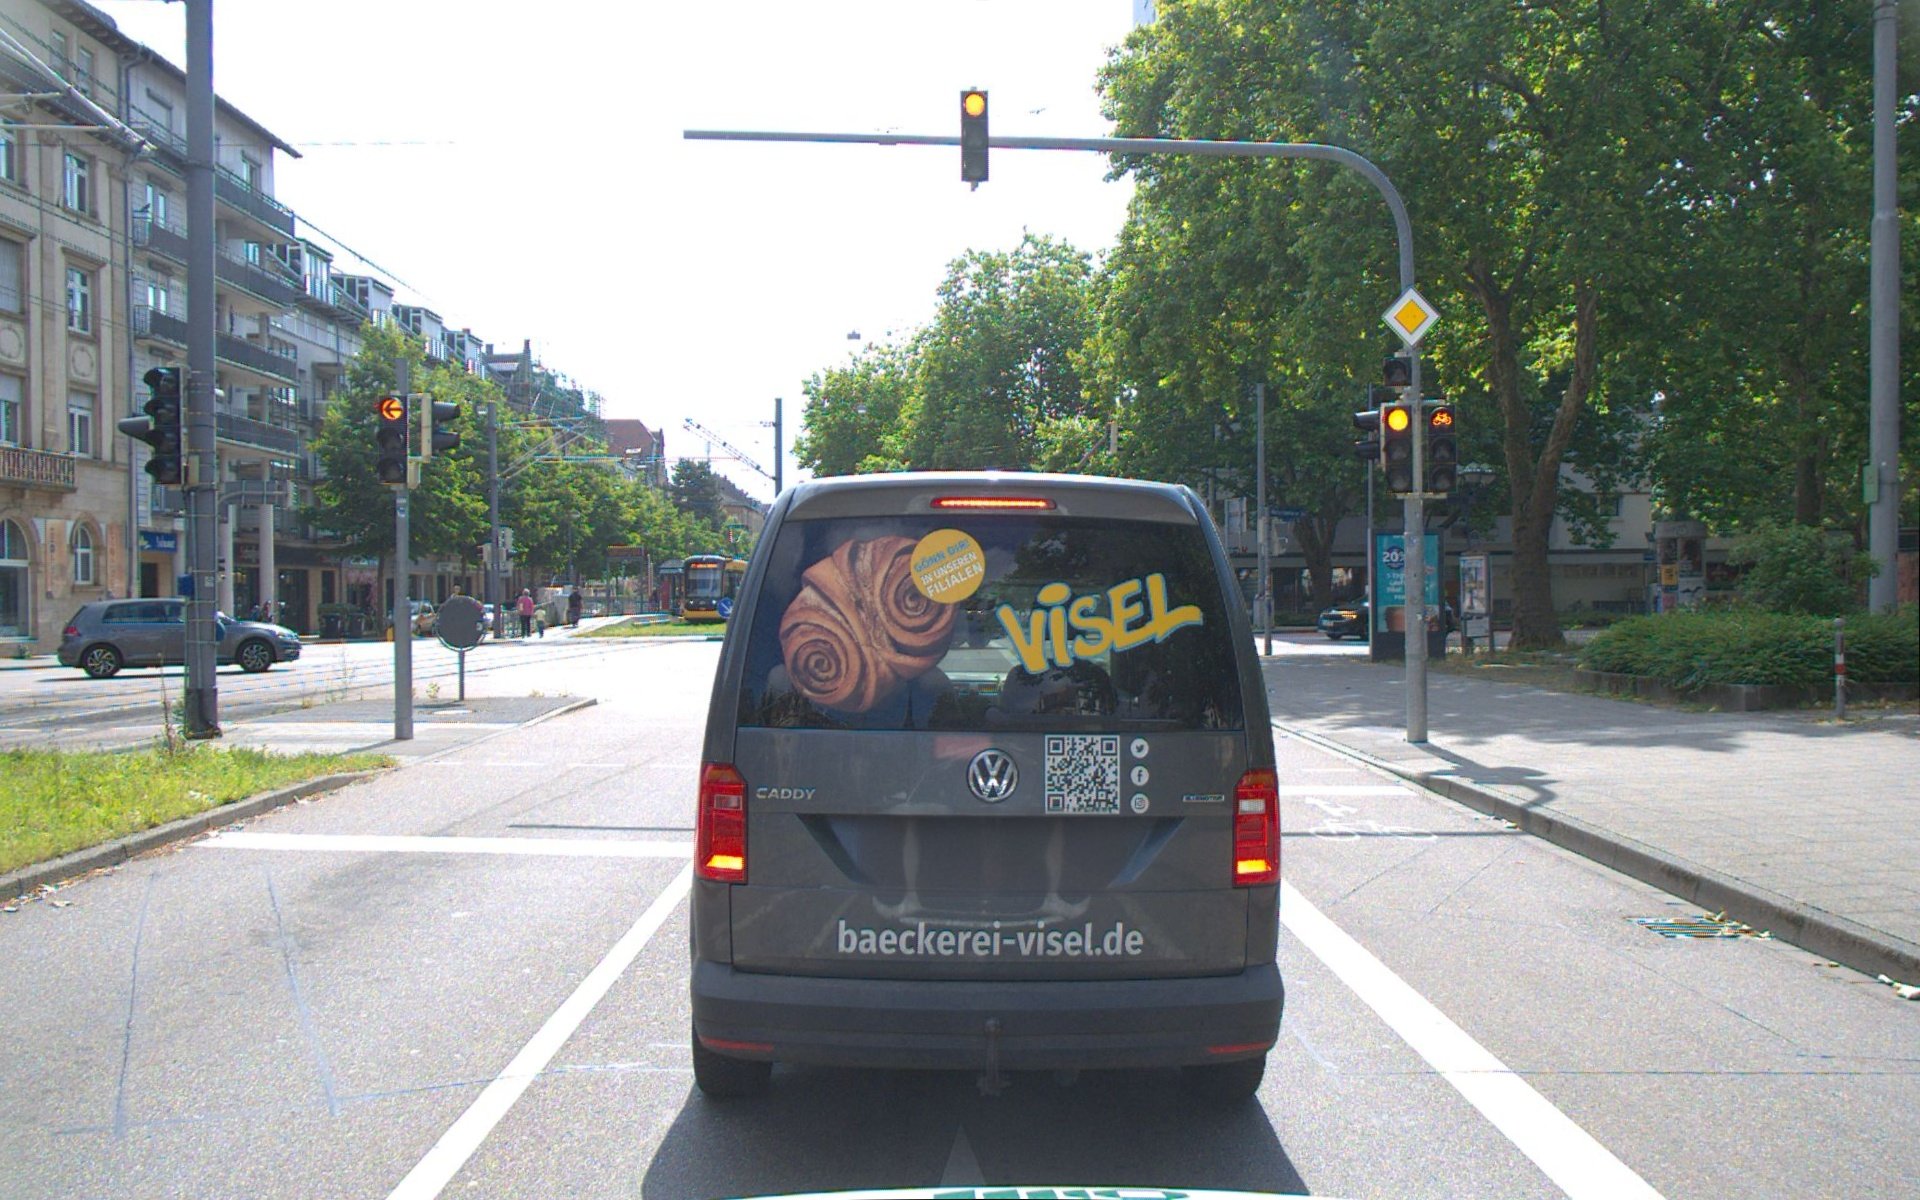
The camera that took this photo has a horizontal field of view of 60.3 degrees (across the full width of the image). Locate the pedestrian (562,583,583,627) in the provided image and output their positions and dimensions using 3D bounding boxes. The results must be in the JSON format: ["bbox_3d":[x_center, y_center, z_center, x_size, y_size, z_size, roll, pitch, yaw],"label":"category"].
[{"bbox_3d":[-15.328,0.209,65.414,0.646,1.714,0.655,-1,0,-1],"label":"pedestrian"}]

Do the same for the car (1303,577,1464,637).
[{"bbox_3d":[12.509,0.192,48.793,4.421,1.629,1.850,-1,0,-24],"label":"car"}]

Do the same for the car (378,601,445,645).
[{"bbox_3d":[-26.894,1.085,81.172,1.953,2.049,3.999,-1,0,-1],"label":"car"}]

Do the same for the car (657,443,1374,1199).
[{"bbox_3d":[0.123,0.539,5.731,1.715,1.840,3.474,1,0,-1],"label":"car"}]

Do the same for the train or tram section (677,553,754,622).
[{"bbox_3d":[-12.886,-0.664,88.125,2.195,3.389,12.970,-1,0,0],"label":"train or tram section"}]

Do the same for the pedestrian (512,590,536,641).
[{"bbox_3d":[-15.670,0.549,59.469,0.646,1.815,0.660,-1,0,-1],"label":"pedestrian"}]

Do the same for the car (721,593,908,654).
[{"bbox_3d":[-3.692,0.580,41.991,4.423,1.414,1.693,-1,0,-25],"label":"car"}]

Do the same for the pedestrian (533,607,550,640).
[{"bbox_3d":[-15.038,0.853,59.441,0.454,1.164,0.435,-1,0,-1],"label":"pedestrian"}]

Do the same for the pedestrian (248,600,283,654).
[{"bbox_3d":[-21.563,0.829,51.329,0.852,1.623,0.685,-1,0,-36],"label":"pedestrian"}]

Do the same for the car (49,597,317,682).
[{"bbox_3d":[-14.713,0.715,31.544,4.497,1.461,1.693,-1,0,-25],"label":"car"}]

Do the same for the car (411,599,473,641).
[{"bbox_3d":[-26.891,1.003,85.923,1.953,2.049,3.999,-1,0,-1],"label":"car"}]

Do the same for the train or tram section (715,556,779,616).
[{"bbox_3d":[-12.943,-0.835,101.586,2.195,3.389,14.012,-1,0,0],"label":"train or tram section"}]

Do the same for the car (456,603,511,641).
[{"bbox_3d":[-27.179,1.243,94.426,1.953,2.049,3.999,-1,0,-1],"label":"car"}]

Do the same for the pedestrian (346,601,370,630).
[{"bbox_3d":[-26.066,0.681,71.610,0.738,1.233,0.704,-1,0,-1],"label":"pedestrian"}]

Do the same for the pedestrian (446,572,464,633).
[{"bbox_3d":[-16.943,0.081,55.509,0.468,2.049,0.419,-1,0,-6],"label":"pedestrian"}]
